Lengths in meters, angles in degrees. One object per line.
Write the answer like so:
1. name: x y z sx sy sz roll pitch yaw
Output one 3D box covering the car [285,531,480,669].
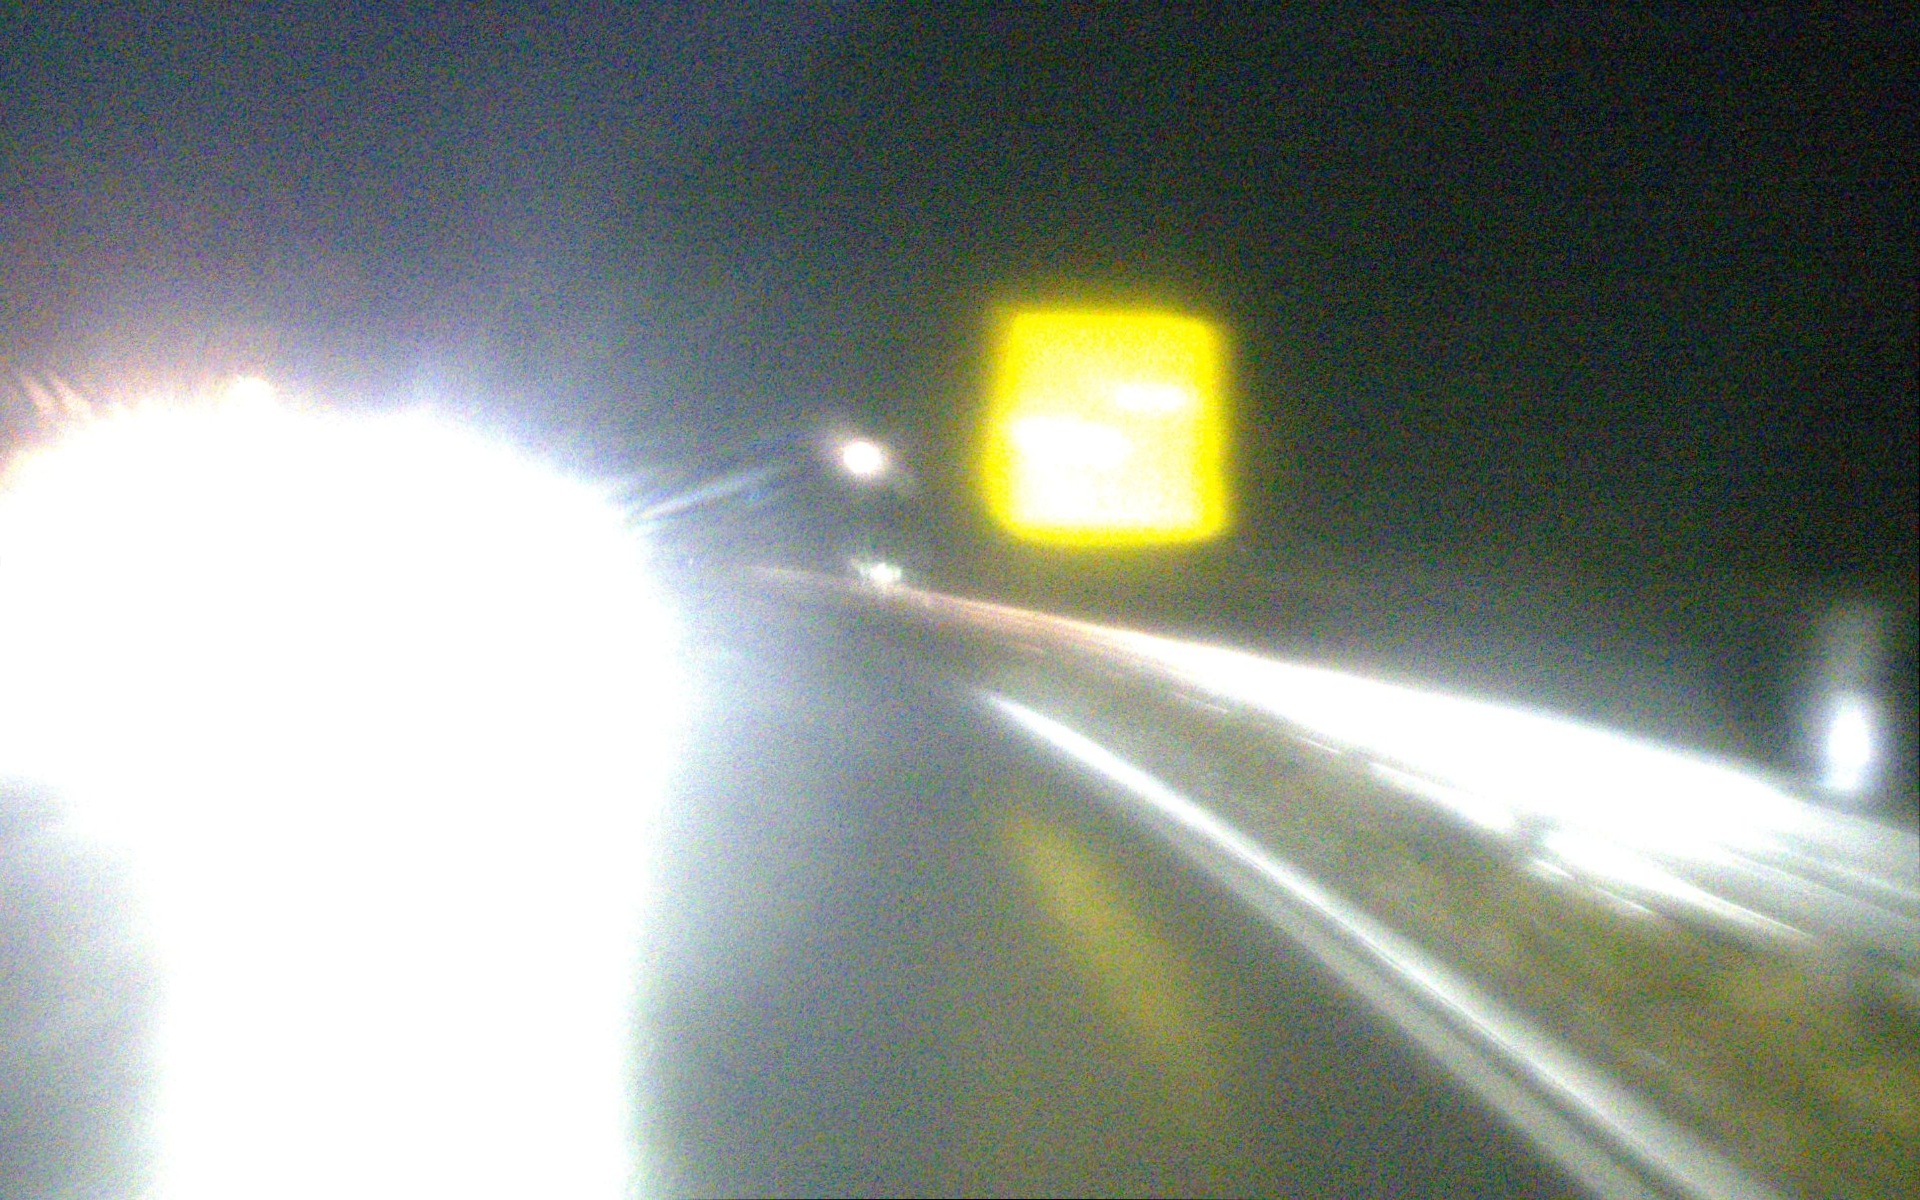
1. car: -7.129 -0.021 42.830 1.993 1.608 4.613 0 1 -5
